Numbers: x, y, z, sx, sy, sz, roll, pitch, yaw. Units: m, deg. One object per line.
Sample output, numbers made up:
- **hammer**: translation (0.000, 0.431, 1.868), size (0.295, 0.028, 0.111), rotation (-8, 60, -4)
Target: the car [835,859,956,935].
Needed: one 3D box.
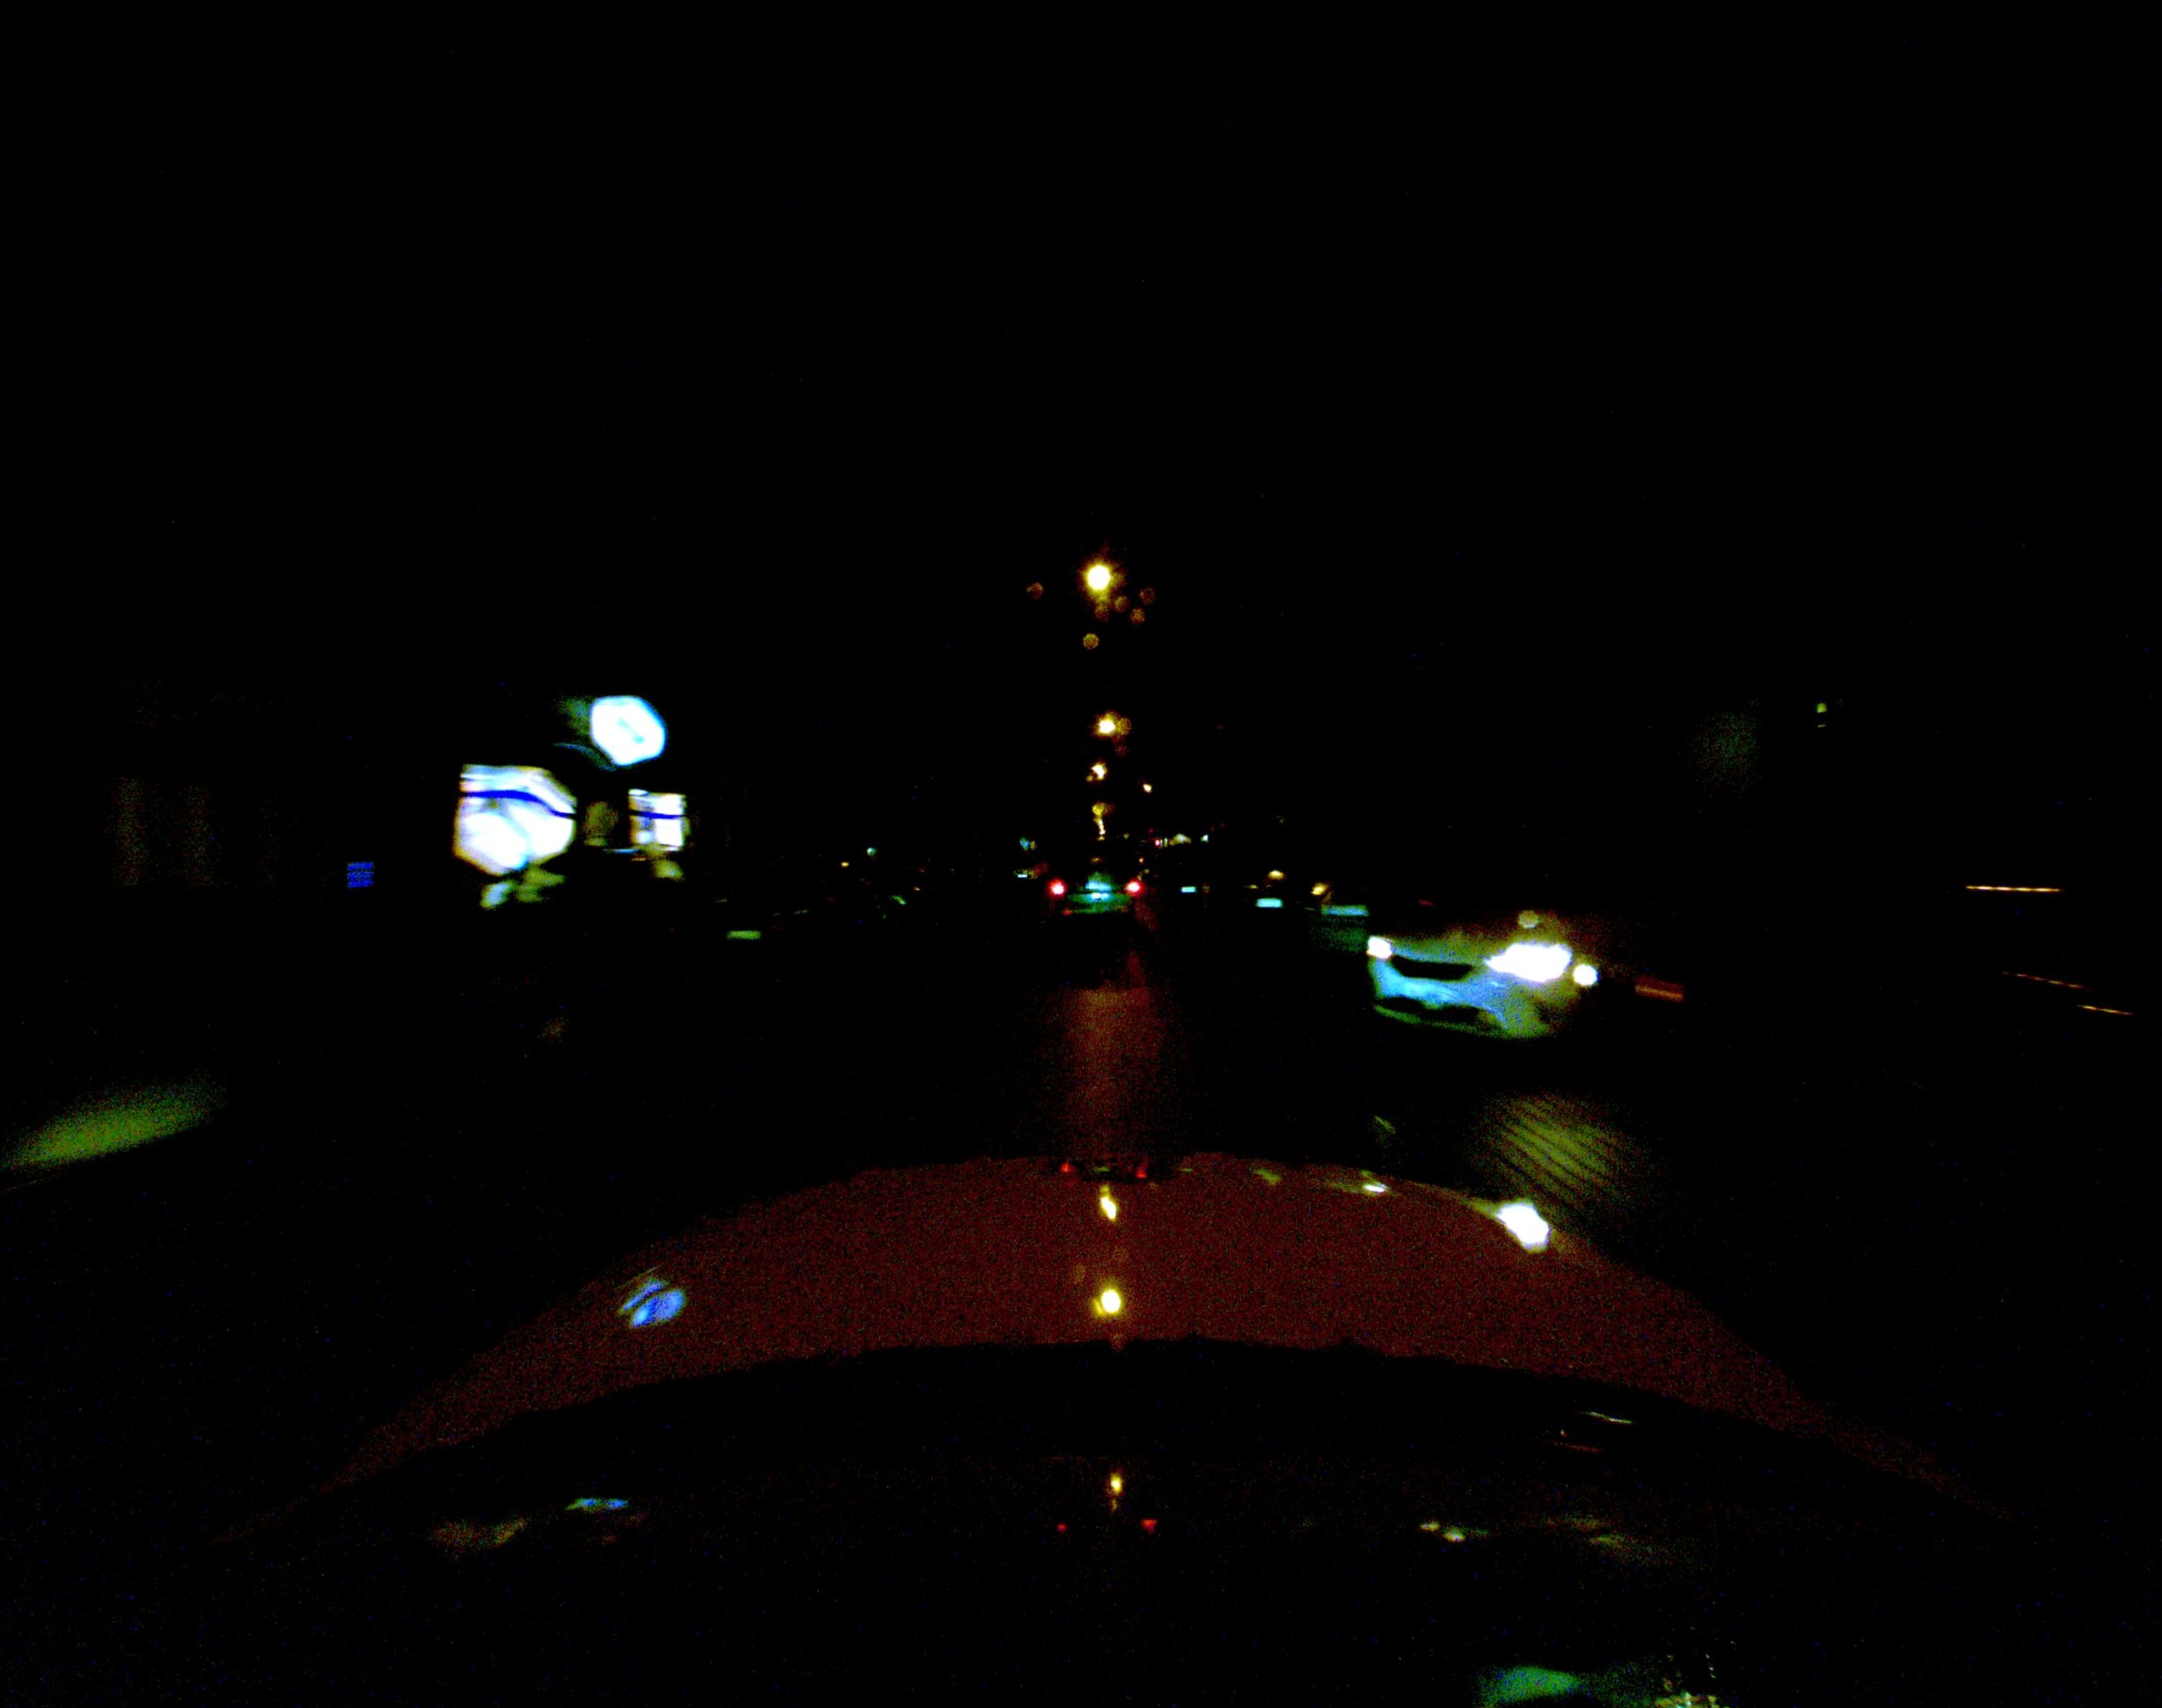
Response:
- **car**: translation (-4.087, 0.889, 18.654), size (1.680, 1.455, 4.316), rotation (-1, 0, 1)

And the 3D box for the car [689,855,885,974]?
- **car**: translation (-4.480, 0.828, 13.092), size (1.598, 1.552, 4.026), rotation (-1, 0, 1)

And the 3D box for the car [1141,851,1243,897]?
- **car**: translation (4.163, 0.711, 30.403), size (3.669, 1.580, 1.575), rotation (-1, 0, -35)

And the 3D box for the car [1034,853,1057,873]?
- **car**: translation (-2.946, 0.743, 67.312), size (1.808, 1.557, 4.073), rotation (-1, 0, -2)

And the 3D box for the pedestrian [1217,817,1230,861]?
- **pedestrian**: translation (11.531, -1.228, 65.812), size (0.888, 3.528, 0.791), rotation (-1, 0, 1)

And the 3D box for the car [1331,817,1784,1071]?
- **car**: translation (4.028, 0.561, 6.791), size (3.663, 1.542, 1.545), rotation (-3, -1, -29)

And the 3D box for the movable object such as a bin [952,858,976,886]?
- **movable object such as a bin**: translation (-6.010, 0.934, 41.955), size (0.970, 1.398, 1.134), rotation (0, 0, 4)

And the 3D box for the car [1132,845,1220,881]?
- **car**: translation (4.756, 0.460, 40.828), size (4.007, 1.492, 1.720), rotation (-4, 0, -25)

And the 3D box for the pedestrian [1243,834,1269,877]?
- **pedestrian**: translation (7.953, 0.059, 37.037), size (0.866, 1.856, 0.992), rotation (-4, 0, -1)

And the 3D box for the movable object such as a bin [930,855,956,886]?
- **movable object such as a bin**: translation (-6.524, 0.758, 38.519), size (0.970, 1.420, 1.134), rotation (0, 0, 4)

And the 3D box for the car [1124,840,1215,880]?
- **car**: translation (5.083, 0.308, 46.452), size (4.814, 2.049, 2.047), rotation (-2, 0, -30)

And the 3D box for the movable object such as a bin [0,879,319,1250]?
- **movable object such as a bin**: translation (-4.819, 0.872, 3.894), size (1.257, 1.459, 1.152), rotation (0, 0, 3)

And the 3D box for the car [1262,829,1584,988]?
- **car**: translation (4.467, 0.568, 10.444), size (4.018, 1.552, 1.978), rotation (-3, -1, -37)

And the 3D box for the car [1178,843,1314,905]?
- **car**: translation (4.782, 0.544, 23.542), size (3.662, 1.580, 1.578), rotation (-2, 0, -27)

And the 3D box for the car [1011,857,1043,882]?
- **car**: translation (-3.398, 0.963, 51.731), size (1.581, 1.482, 3.795), rotation (-1, 0, 3)

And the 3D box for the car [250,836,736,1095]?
- **car**: translation (-4.768, 0.756, 7.367), size (1.598, 1.706, 3.722), rotation (-2, 0, 1)

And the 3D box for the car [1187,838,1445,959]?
- **car**: translation (3.856, 0.630, 13.168), size (4.016, 1.552, 1.785), rotation (-3, -1, -34)

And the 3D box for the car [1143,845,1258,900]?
- **car**: translation (3.902, 0.551, 26.347), size (3.671, 1.580, 1.574), rotation (-2, 0, -38)

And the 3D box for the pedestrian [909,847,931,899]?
- **pedestrian**: translation (-5.626, 0.658, 28.537), size (0.589, 1.820, 0.795), rotation (0, 0, 1)

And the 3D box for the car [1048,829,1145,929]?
- **car**: translation (0.382, 0.547, 19.076), size (1.986, 2.050, 4.001), rotation (-2, -1, 1)

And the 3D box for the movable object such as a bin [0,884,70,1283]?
- **movable object such as a bin**: translation (-4.578, 0.849, 2.663), size (1.160, 1.459, 1.108), rotation (0, 0, 3)

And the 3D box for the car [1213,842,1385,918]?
- **car**: translation (5.118, 0.555, 18.910), size (4.019, 1.452, 1.669), rotation (-3, -1, -37)

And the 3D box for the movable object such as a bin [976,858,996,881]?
- **movable object such as a bin**: translation (-6.009, 0.954, 51.302), size (1.043, 1.398, 1.159), rotation (0, 0, 4)

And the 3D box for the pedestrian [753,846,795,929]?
- **pedestrian**: translation (-6.753, 0.727, 17.928), size (0.637, 1.781, 0.549), rotation (-2, 0, 1)

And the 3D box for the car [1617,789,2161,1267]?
- **car**: translation (4.431, 0.519, 4.218), size (3.415, 1.542, 1.560), rotation (-3, -1, -35)

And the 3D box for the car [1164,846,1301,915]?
- **car**: translation (3.889, 0.638, 20.535), size (1.584, 1.460, 3.706), rotation (-4, 0, 43)

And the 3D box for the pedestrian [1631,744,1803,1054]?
- **pedestrian**: translation (4.461, 0.282, 5.729), size (0.645, 2.013, 0.671), rotation (-4, 1, -30)
